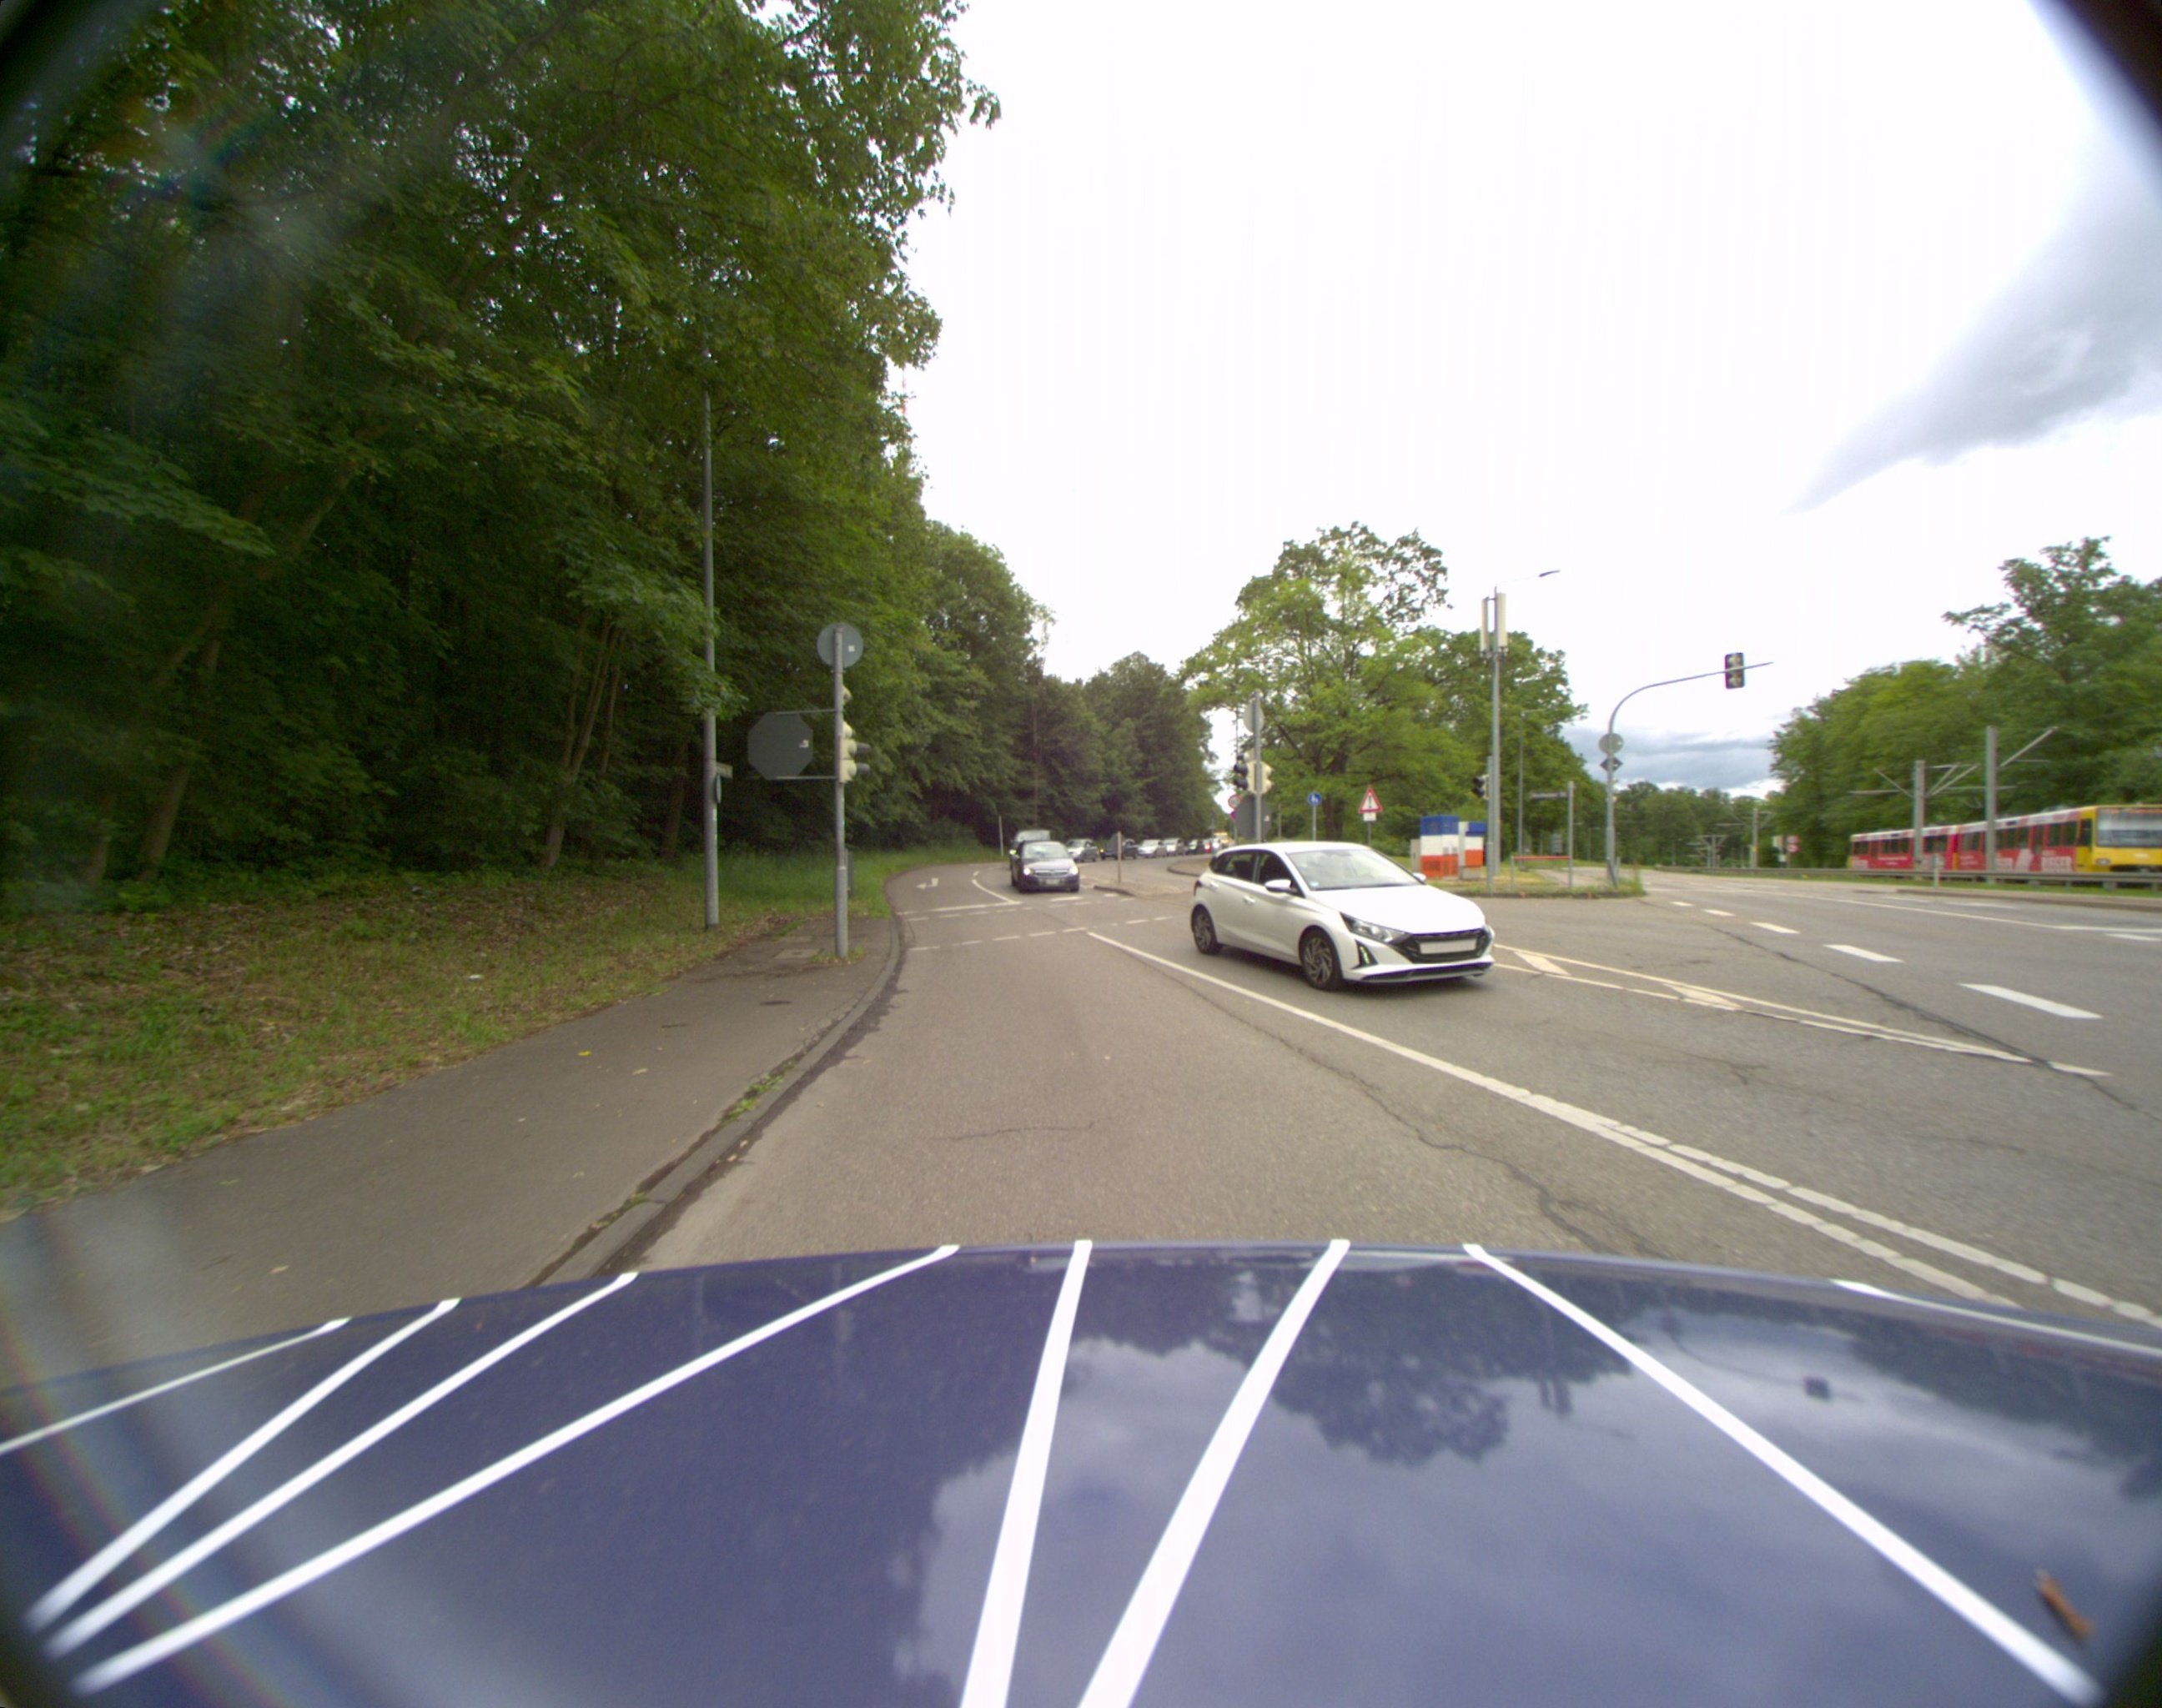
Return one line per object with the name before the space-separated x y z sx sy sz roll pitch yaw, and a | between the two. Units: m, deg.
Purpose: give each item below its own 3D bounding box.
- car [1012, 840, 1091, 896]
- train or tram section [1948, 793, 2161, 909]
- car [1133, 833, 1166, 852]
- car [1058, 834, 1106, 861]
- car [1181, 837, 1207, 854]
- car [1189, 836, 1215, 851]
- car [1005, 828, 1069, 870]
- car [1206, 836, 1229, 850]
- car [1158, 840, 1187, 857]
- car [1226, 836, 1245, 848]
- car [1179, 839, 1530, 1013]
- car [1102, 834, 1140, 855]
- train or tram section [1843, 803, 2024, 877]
car | -0.997 0.354 22.715 1.804 1.471 4.465 1 1 -10
train or tram section | 48.295 -0.491 37.954 2.947 4.625 18.579 3 4 38
car | 5.503 -0.935 60.402 1.775 1.491 3.877 1 2 18
car | 0.105 -0.427 48.322 1.790 1.664 3.996 1 1 20
car | 10.709 -0.821 71.988 1.775 1.491 3.877 1 2 18
car | 12.369 -1.063 77.642 1.775 1.491 3.878 1 2 21
car | -2.042 -0.272 36.813 1.988 1.862 4.535 1 1 11
car | 15.243 -1.219 84.711 1.775 1.491 3.878 1 2 21
car | 7.993 -0.507 66.374 1.775 1.491 3.877 1 2 18
car | 20.312 -1.549 99.903 1.775 1.491 3.878 1 2 21
car | 2.747 0.589 8.734 1.656 1.471 4.066 0 2 -17
car | 2.951 -0.708 55.514 1.775 1.491 3.877 1 2 18
train or tram section | 58.836 -1.259 53.402 2.957 4.395 18.760 2 4 31
